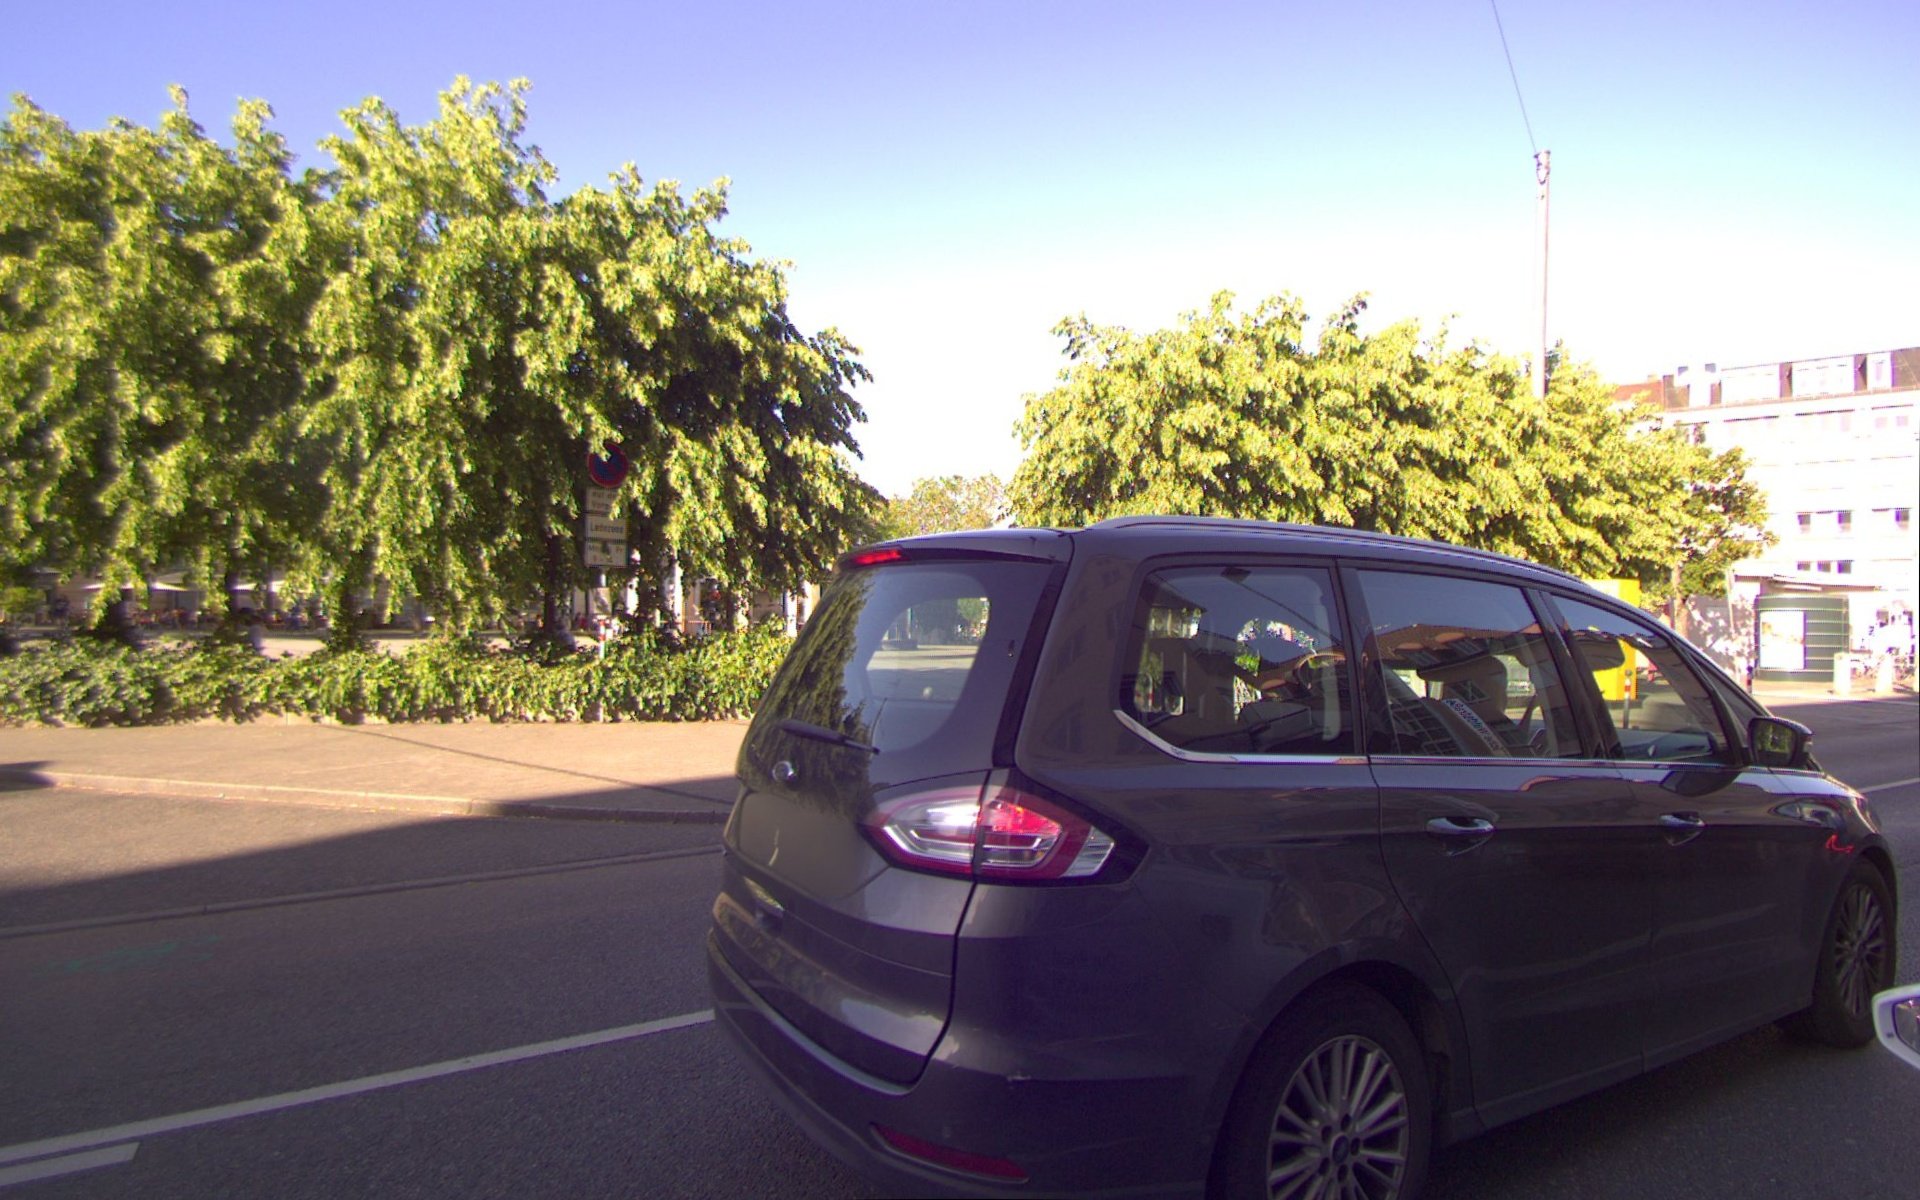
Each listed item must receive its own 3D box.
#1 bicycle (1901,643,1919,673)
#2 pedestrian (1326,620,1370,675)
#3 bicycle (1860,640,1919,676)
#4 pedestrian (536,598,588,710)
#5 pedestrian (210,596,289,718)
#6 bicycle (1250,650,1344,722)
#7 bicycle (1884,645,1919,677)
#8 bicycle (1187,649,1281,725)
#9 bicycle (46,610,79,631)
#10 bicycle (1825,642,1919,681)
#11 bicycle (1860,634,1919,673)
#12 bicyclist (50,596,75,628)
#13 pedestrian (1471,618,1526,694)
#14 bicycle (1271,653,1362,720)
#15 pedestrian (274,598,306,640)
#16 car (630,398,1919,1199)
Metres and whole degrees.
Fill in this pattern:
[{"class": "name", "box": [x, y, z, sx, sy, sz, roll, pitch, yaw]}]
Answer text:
[{"class": "bicycle", "box": [38.675, 2.308, 39.503, 0.834, 1.171, 2.308, 1, -1, -34]}, {"class": "pedestrian", "box": [14.932, 1.814, 38.661, 0.890, 2.040, 1.398, 1, -1, -17]}, {"class": "bicycle", "box": [33.117, 2.030, 35.028, 0.833, 1.171, 2.449, 1, -1, -31]}, {"class": "pedestrian", "box": [-6.523, 0.868, 16.516, 0.725, 1.781, 0.895, 1, -1, -19]}, {"class": "pedestrian", "box": [-10.757, 0.844, 15.234, 0.725, 1.781, 0.895, 1, -1, -19]}, {"class": "bicycle", "box": [5.381, 1.351, 16.126, 0.425, 1.036, 1.561, 1, -1, -28]}, {"class": "bicycle", "box": [36.750, 2.320, 38.025, 0.834, 1.171, 2.517, 1, -1, -34]}, {"class": "bicycle", "box": [4.213, 1.318, 15.542, 0.425, 1.031, 1.590, 1, 0, -28]}, {"class": "bicycle", "box": [-41.576, 0.950, 46.504, 1.873, 0.966, 0.588, 0, -1, 31]}, {"class": "bicycle", "box": [30.901, 2.050, 33.864, 0.833, 1.171, 2.493, 1, -1, -31]}, {"class": "bicycle", "box": [34.477, 1.936, 36.518, 0.913, 1.341, 2.461, 1, -1, -35]}, {"class": "bicyclist", "box": [-41.528, 0.559, 46.492, 0.686, 1.447, 0.672, 1, -1, 30]}, {"class": "pedestrian", "box": [14.787, 1.527, 27.587, 0.888, 2.040, 0.991, 1, 0, -11]}, {"class": "bicycle", "box": [5.803, 1.391, 16.432, 0.425, 0.971, 1.518, 0, 0, -28]}, {"class": "pedestrian", "box": [-29.054, 0.817, 43.537, 0.723, 1.781, 0.898, 1, -1, 27]}, {"class": "car", "box": [1.456, 0.665, 3.567, 4.675, 1.795, 1.983, 1, -2, -32]}]
